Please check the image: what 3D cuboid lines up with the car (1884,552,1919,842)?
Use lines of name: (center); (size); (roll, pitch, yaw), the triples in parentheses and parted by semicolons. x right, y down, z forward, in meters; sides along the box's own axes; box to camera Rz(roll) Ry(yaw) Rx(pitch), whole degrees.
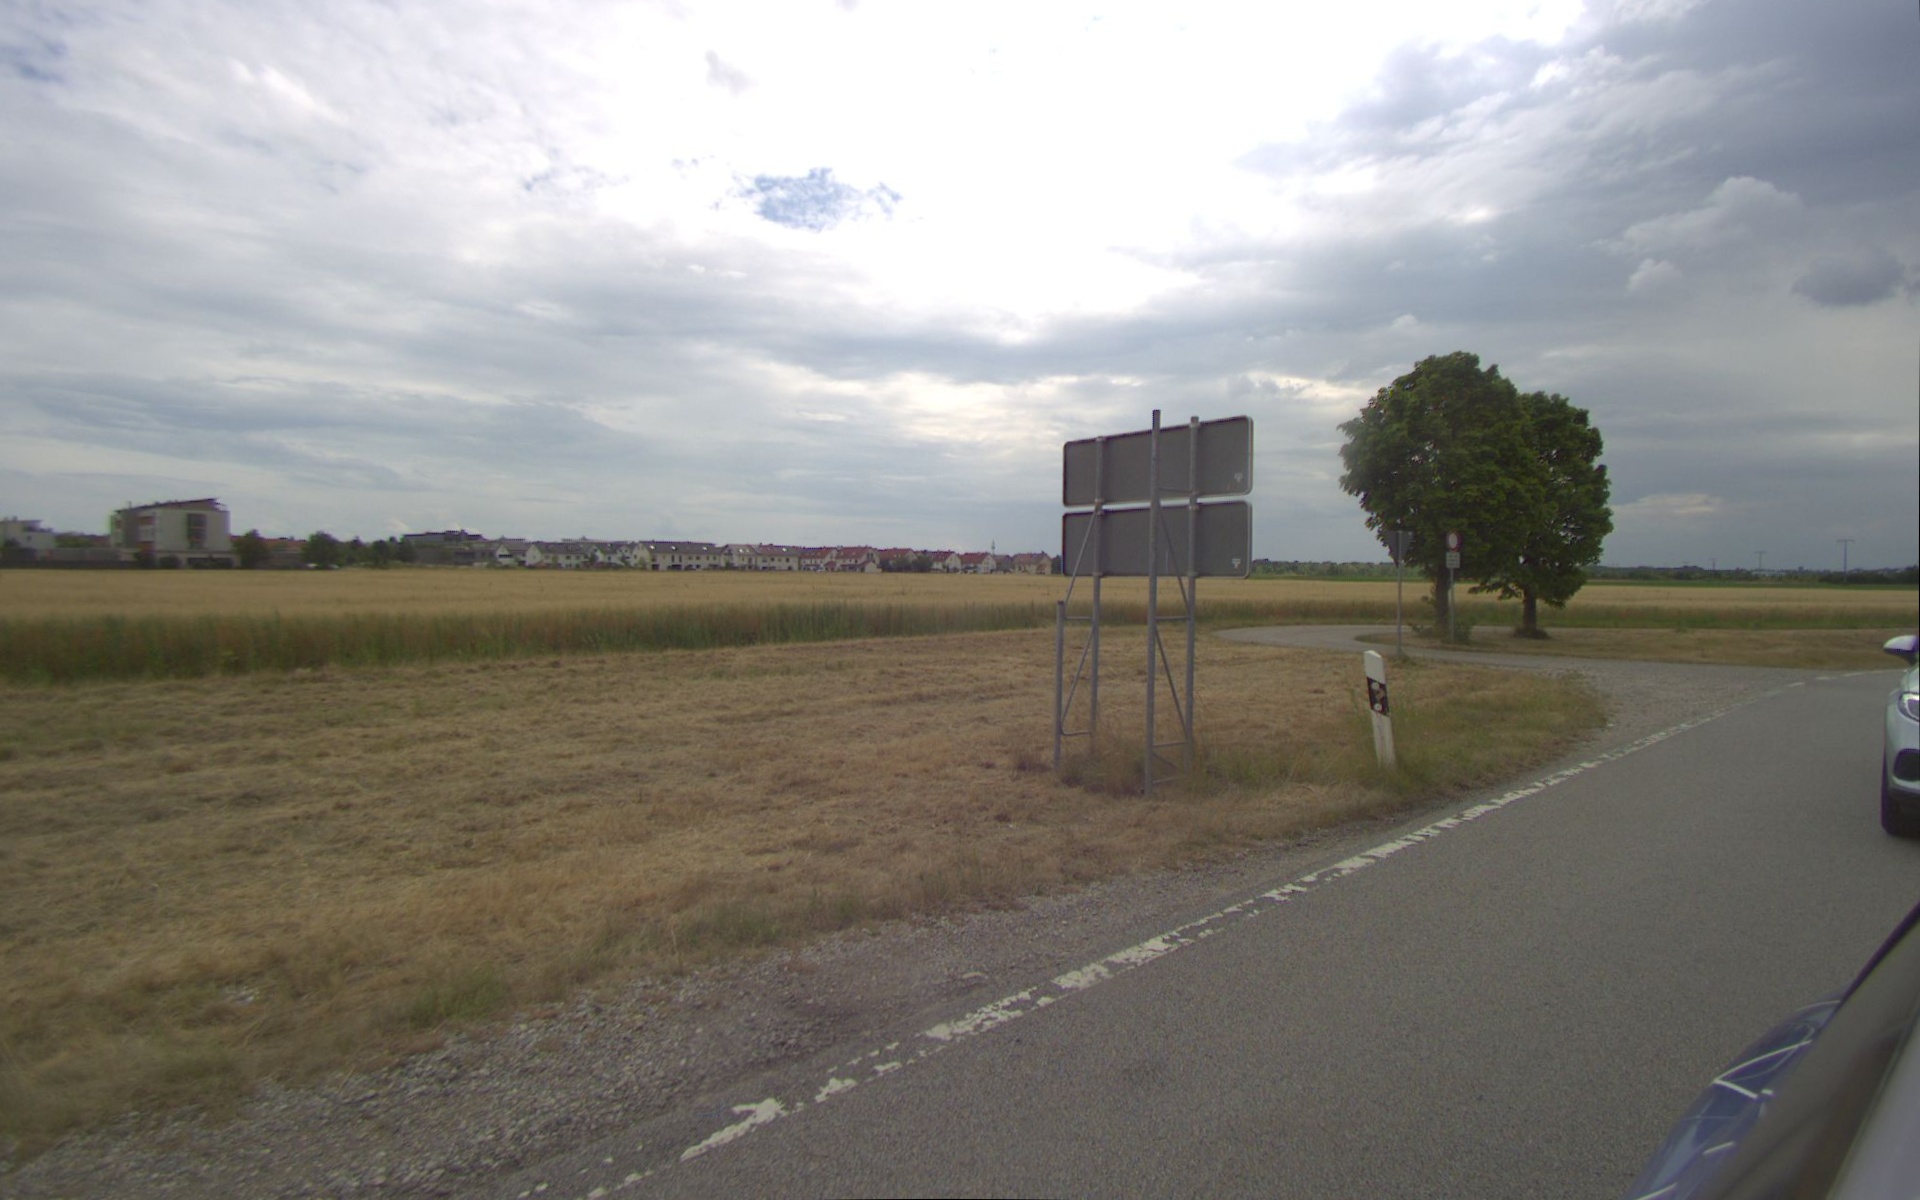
car: (7.454, 0.569, 6.528); (4.375, 1.606, 1.834); (0, 2, -43)
